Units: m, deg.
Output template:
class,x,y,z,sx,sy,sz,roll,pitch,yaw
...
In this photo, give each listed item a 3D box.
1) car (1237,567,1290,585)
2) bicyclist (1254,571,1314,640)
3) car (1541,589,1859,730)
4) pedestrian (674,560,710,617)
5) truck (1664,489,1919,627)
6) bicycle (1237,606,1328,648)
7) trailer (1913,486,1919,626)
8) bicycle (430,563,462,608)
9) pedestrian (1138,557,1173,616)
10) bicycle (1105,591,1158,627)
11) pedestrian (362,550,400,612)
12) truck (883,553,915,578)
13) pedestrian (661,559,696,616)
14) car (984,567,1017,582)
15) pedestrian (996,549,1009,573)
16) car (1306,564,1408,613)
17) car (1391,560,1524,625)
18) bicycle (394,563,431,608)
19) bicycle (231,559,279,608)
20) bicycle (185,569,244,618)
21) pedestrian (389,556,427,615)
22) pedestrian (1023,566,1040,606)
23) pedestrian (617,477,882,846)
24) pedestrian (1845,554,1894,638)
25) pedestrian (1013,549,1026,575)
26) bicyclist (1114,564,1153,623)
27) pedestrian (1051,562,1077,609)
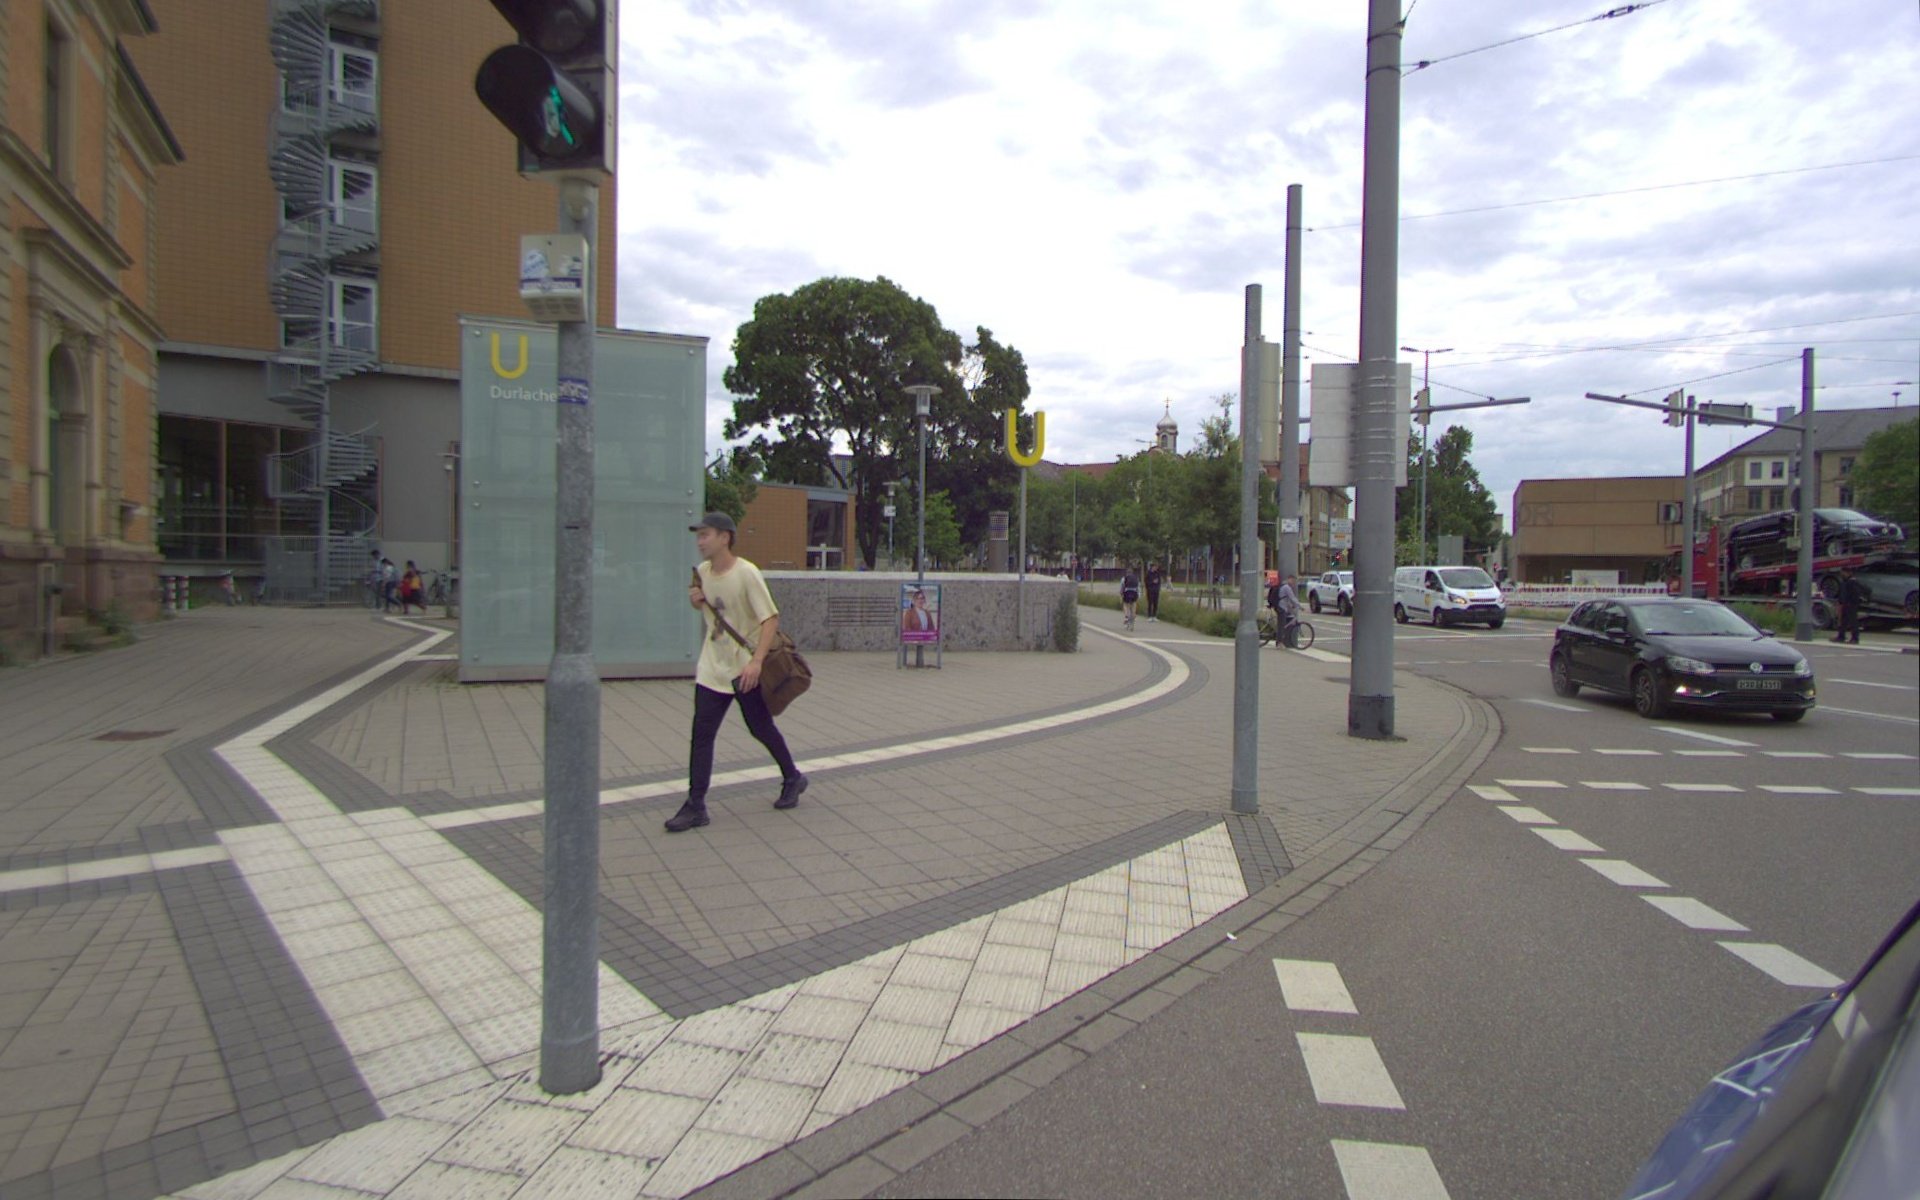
class,x,y,z,sx,sy,sz,roll,pitch,yaw
car,30.927,-2.473,103.127,5.134,1.738,1.917,0,2,-24
bicyclist,7.456,0.114,23.320,1.079,1.539,0.761,0,1,-3
car,9.172,0.616,13.005,1.629,1.430,3.990,1,2,9
pedestrian,-8.310,-0.371,31.411,0.858,1.752,0.724,0,1,-37
truck,28.998,-1.390,34.220,2.957,3.968,10.460,-1,2,-1
bicycle,7.440,0.611,23.399,1.790,0.850,0.768,2,1,-3
trailer,29.452,-1.150,24.647,2.937,4.022,9.564,-1,2,-4
bicycle,-16.436,-0.478,32.406,0.723,1.356,2.616,-1,2,-24
pedestrian,6.533,-0.447,33.809,0.857,1.952,0.725,0,1,-33
bicycle,4.757,0.246,27.973,0.669,0.944,1.835,5,2,36
pedestrian,-16.493,-0.541,28.841,0.856,1.758,0.726,0,1,-22
truck,-10.289,-5.722,169.863,2.854,4.074,7.174,-1,2,-25
pedestrian,-8.917,-0.404,32.018,0.858,1.764,0.724,0,1,-37
car,5.065,-3.232,128.114,1.966,1.749,3.993,-2,2,-42
pedestrian,3.374,-3.042,79.530,0.596,1.822,0.710,4,1,44
car,16.364,-0.515,41.993,2.049,1.871,4.756,1,2,-4
car,16.196,-0.298,33.250,1.961,1.966,4.526,1,2,-2
bicycle,-17.331,-0.472,32.097,0.798,1.356,2.616,-1,2,-24
bicycle,-20.784,-0.502,29.887,0.633,1.356,2.616,-1,2,-24
bicycle,-21.716,-0.217,29.540,0.798,1.356,2.616,-1,2,-24
pedestrian,-15.487,-0.411,28.412,0.856,1.651,0.726,0,1,-22
pedestrian,3.288,-0.658,46.754,0.619,1.822,0.598,3,1,-3
pedestrian,-1.211,0.296,5.967,0.882,1.890,1.270,1,1,36
pedestrian,21.734,-0.115,24.201,0.777,1.967,0.968,1,1,39
pedestrian,4.442,-2.837,75.696,0.596,1.822,0.710,4,1,44
bicyclist,4.792,-0.172,27.953,0.689,1.580,0.914,3,1,35
pedestrian,4.083,-0.580,39.684,0.828,1.827,0.699,1,1,20
